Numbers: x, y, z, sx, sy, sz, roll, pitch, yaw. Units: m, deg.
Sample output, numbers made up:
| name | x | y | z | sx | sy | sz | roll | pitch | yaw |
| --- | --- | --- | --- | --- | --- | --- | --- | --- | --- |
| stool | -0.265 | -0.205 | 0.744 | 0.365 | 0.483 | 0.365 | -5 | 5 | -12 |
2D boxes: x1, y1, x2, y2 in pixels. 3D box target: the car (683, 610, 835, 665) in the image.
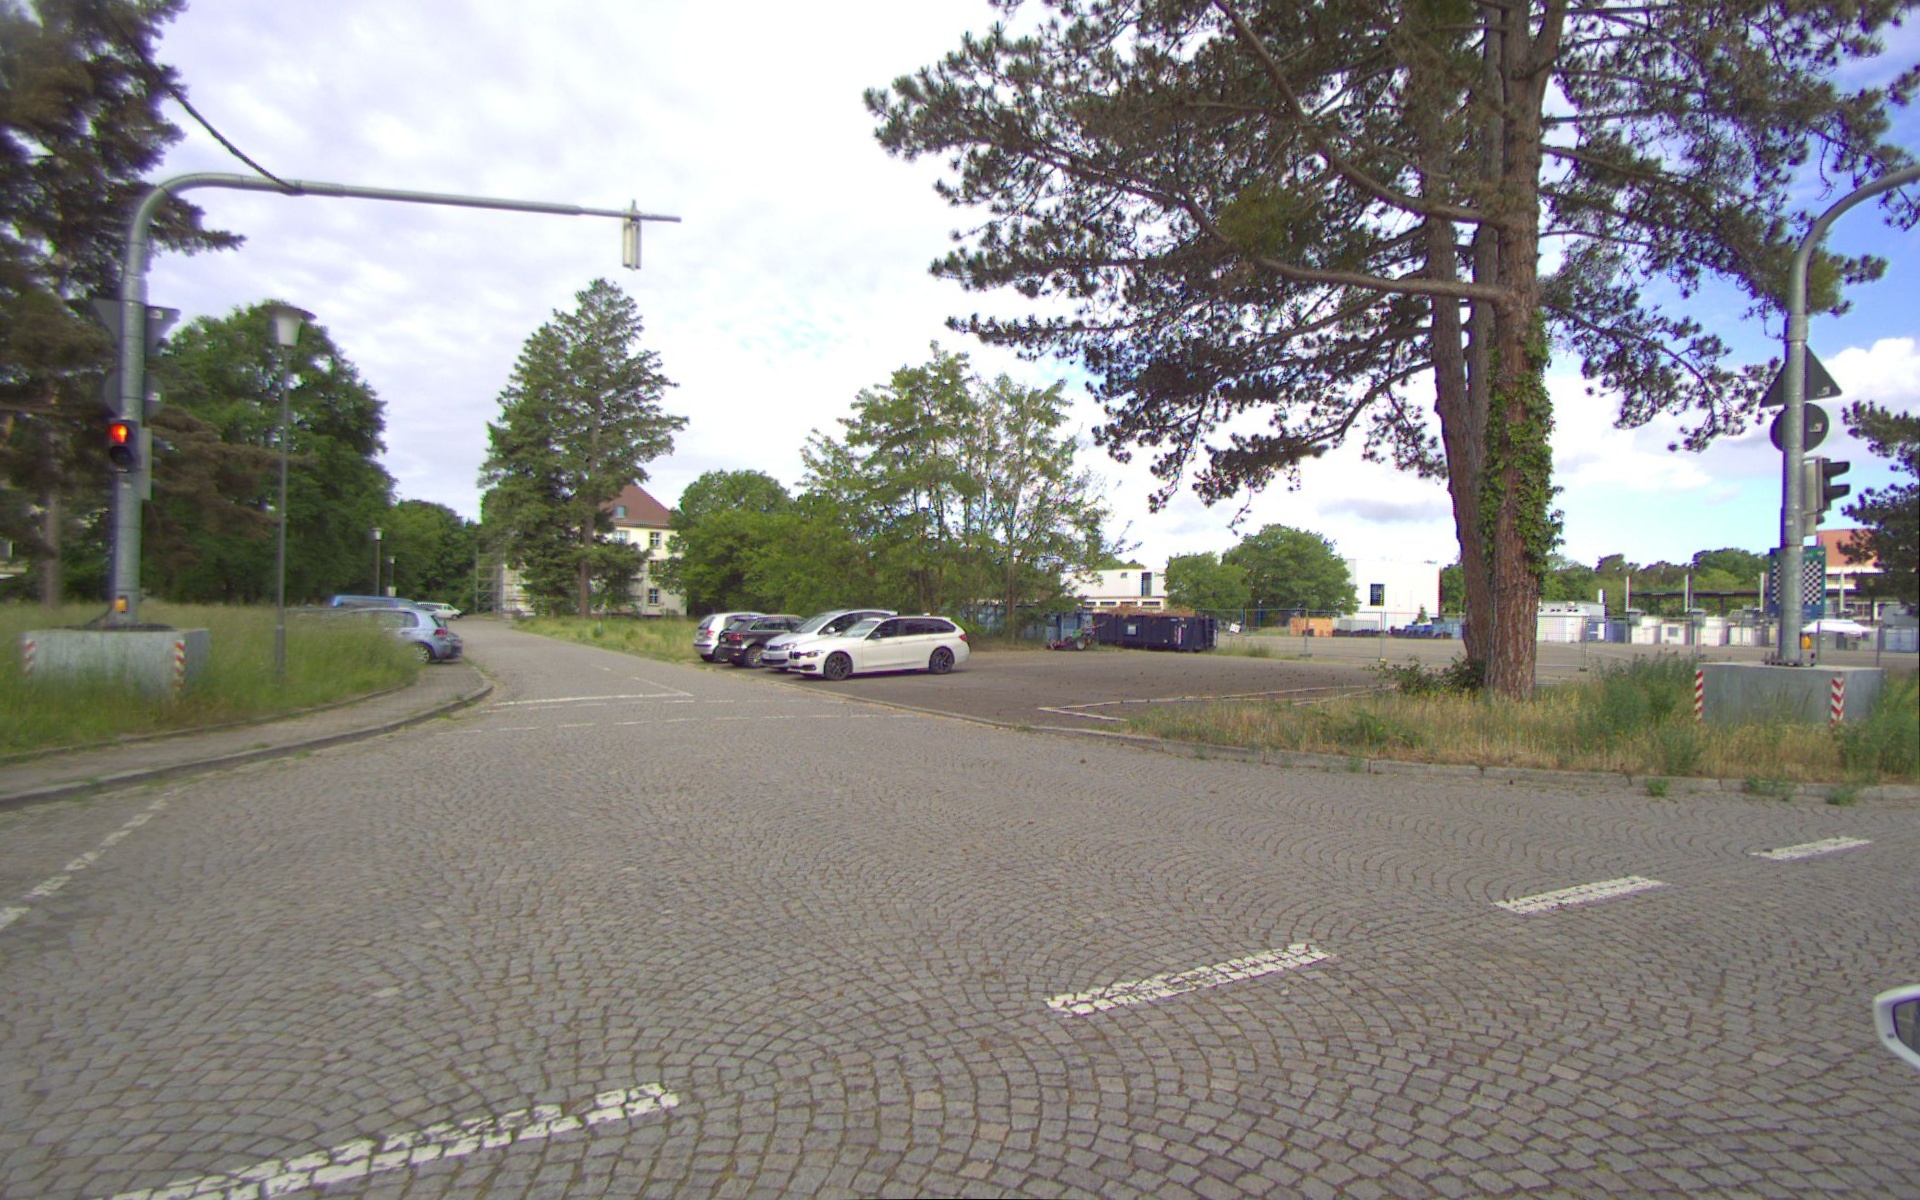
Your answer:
| name | x | y | z | sx | sy | sz | roll | pitch | yaw |
| --- | --- | --- | --- | --- | --- | --- | --- | --- | --- |
| car | -6.203 | 1.140 | 31.218 | 4.280 | 1.587 | 1.783 | 2 | -1 | -33 |

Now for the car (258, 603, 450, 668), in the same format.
| name | x | y | z | sx | sy | sz | roll | pitch | yaw |
| --- | --- | --- | --- | --- | --- | --- | --- | --- | --- |
| car | -15.025 | 0.881 | 25.093 | 3.954 | 1.492 | 1.677 | 2 | -1 | -31 |

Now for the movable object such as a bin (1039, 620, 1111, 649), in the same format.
| name | x | y | z | sx | sy | sz | roll | pitch | yaw |
| --- | --- | --- | --- | --- | --- | --- | --- | --- | --- |
| movable object such as a bin | 4.427 | 1.325 | 38.512 | 2.631 | 1.062 | 1.170 | 2 | -1 | -35 |

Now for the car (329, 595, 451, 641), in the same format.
| name | x | y | z | sx | sy | sz | roll | pitch | yaw |
| --- | --- | --- | --- | --- | --- | --- | --- | --- | --- |
| car | -25.968 | 0.808 | 45.921 | 4.736 | 2.007 | 1.982 | 1 | -1 | -29 |

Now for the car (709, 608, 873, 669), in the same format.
| name | x | y | z | sx | sy | sz | roll | pitch | yaw |
| --- | --- | --- | --- | --- | --- | --- | --- | --- | --- |
| car | -4.837 | 1.053 | 28.922 | 4.279 | 1.522 | 1.844 | -1 | 1 | -33 |

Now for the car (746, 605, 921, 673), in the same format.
| name | x | y | z | sx | sy | sz | roll | pitch | yaw |
| --- | --- | --- | --- | --- | --- | --- | --- | --- | --- |
| car | -3.333 | 0.971 | 26.748 | 4.279 | 1.605 | 1.811 | -1 | 1 | -33 |

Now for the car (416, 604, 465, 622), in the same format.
| name | x | y | z | sx | sy | sz | roll | pitch | yaw |
| --- | --- | --- | --- | --- | --- | --- | --- | --- | --- |
| car | -61.494 | 1.537 | 118.887 | 5.102 | 2.040 | 1.984 | 2 | -1 | -30 |

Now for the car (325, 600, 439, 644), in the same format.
| name | x | y | z | sx | sy | sz | roll | pitch | yaw |
| --- | --- | --- | --- | --- | --- | --- | --- | --- | --- |
| car | -23.647 | 0.906 | 41.236 | 3.949 | 1.737 | 1.679 | 1 | 0 | -28 |

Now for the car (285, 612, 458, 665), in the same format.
| name | x | y | z | sx | sy | sz | roll | pitch | yaw |
| --- | --- | --- | --- | --- | --- | --- | --- | --- | --- |
| car | -15.936 | 1.045 | 27.412 | 3.951 | 1.372 | 1.678 | 2 | -1 | -29 |

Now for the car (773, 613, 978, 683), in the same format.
| name | x | y | z | sx | sy | sz | roll | pitch | yaw |
| --- | --- | --- | --- | --- | --- | --- | --- | --- | --- |
| car | -2.007 | 1.094 | 24.505 | 4.688 | 1.461 | 1.800 | -1 | 0 | -32 |
